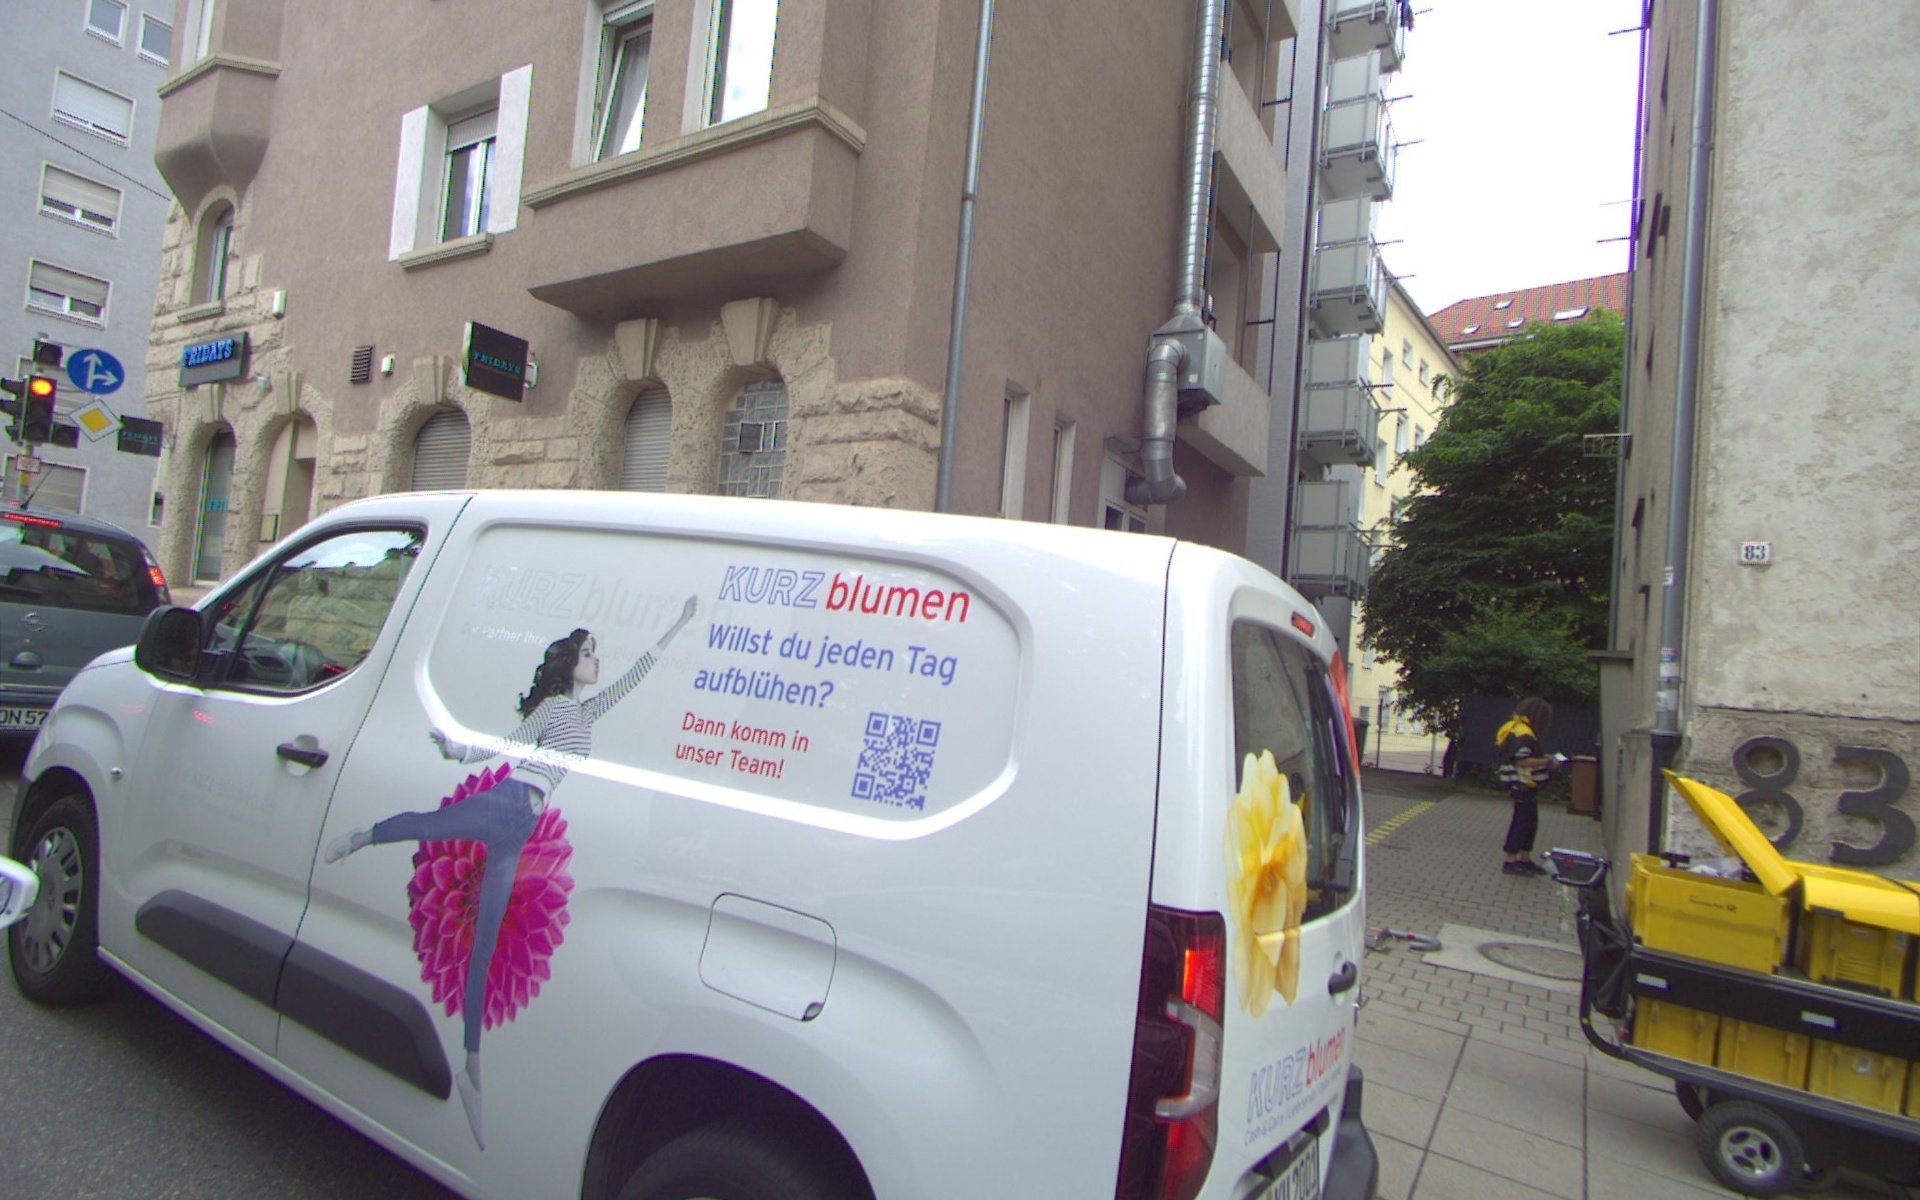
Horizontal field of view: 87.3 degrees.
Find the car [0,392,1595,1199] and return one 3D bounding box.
[{"bbox_3d":[-0.904,0.584,3.122,4.597,1.793,1.983,6,-5,30],"label":"car"}]

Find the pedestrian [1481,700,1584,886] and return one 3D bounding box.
[{"bbox_3d":[5.556,1.830,9.806,0.770,1.665,0.811,1,-3,24],"label":"pedestrian"}]

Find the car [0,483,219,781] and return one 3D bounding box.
[{"bbox_3d":[-6.713,0.036,6.539,3.608,1.614,1.634,6,-5,32],"label":"car"}]

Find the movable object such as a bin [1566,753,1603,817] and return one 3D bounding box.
[{"bbox_3d":[9.926,2.929,15.995,0.405,0.922,0.340,6,-1,32],"label":"movable object such as a bin"}]

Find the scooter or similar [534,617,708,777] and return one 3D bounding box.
[{"bbox_3d":[-2.854,0.783,8.425,1.400,1.117,0.527,6,-1,34],"label":"scooter or similar"}]

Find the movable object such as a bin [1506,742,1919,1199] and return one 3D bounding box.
[{"bbox_3d":[3.368,1.443,3.993,1.979,1.391,1.223,6,0,30],"label":"movable object such as a bin"}]
